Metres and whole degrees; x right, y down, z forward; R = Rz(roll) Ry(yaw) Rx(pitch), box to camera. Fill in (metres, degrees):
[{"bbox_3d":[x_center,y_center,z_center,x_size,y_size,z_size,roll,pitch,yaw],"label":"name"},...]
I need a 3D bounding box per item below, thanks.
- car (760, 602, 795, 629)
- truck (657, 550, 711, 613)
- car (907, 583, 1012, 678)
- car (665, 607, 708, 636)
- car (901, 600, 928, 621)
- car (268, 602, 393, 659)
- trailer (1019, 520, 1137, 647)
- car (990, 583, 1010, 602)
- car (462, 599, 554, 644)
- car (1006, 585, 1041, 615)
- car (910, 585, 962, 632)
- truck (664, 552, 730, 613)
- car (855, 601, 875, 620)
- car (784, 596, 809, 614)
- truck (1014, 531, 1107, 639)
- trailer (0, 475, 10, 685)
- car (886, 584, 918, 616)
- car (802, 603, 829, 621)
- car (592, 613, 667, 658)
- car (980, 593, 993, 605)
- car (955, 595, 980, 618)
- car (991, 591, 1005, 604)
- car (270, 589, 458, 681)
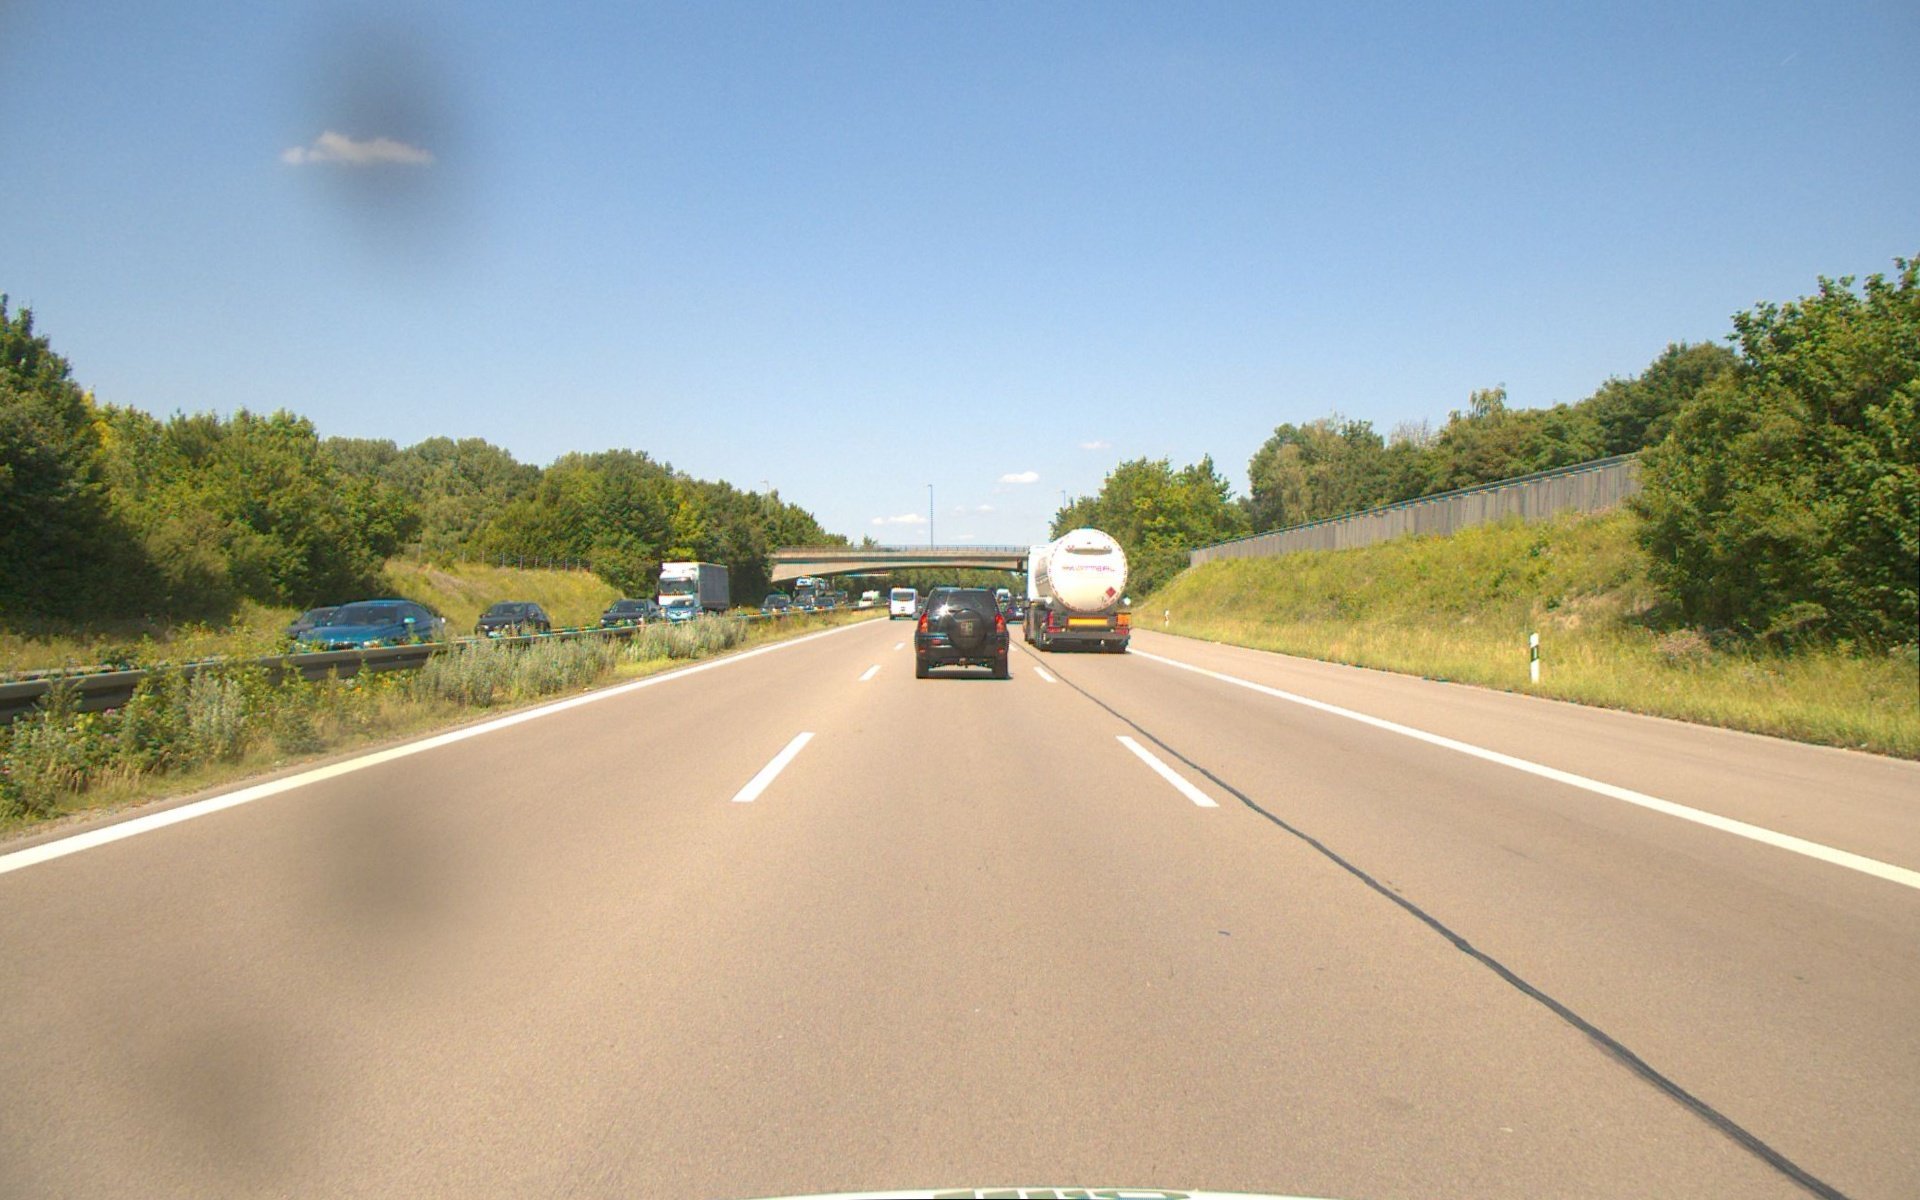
[{"bbox_3d":[-11.756,0.966,106.764,1.821,1.628,4.720,-1,0,-1],"label":"car"},{"bbox_3d":[-19.147,-1.257,115.042,2.618,4.149,6.075,-2,0,-1],"label":"truck"},{"bbox_3d":[-0.010,0.544,31.705,1.867,1.694,4.000,0,0,0],"label":"car"},{"bbox_3d":[-15.164,1.165,91.895,1.758,1.536,4.349,-1,0,-1],"label":"car"},{"bbox_3d":[-3.530,0.855,129.941,1.952,1.579,4.000,0,-1,1],"label":"car"},{"bbox_3d":[-18.571,0.860,49.048,1.857,1.463,4.923,-3,0,-1],"label":"car"},{"bbox_3d":[3.449,-0.457,51.106,2.594,3.449,11.149,1,0,-1],"label":"trailer"},{"bbox_3d":[3.889,-0.727,160.558,1.952,1.811,4.261,-1,0,1],"label":"car"},{"bbox_3d":[-15.501,0.692,56.942,1.857,1.363,4.762,-3,0,-1],"label":"car"},{"bbox_3d":[3.751,-0.005,98.847,1.952,1.713,4.000,0,-1,0],"label":"car"},{"bbox_3d":[-0.954,0.330,64.407,1.953,1.736,4.334,-1,0,-2],"label":"car"},{"bbox_3d":[-19.195,-1.227,121.674,2.618,4.149,13.957,-2,0,0],"label":"truck"},{"bbox_3d":[-10.666,1.192,185.491,1.952,2.049,4.914,0,-1,0],"label":"car"},{"bbox_3d":[-15.620,0.444,158.176,1.924,1.669,4.895,-1,0,0],"label":"car"},{"bbox_3d":[3.312,-0.485,56.001,2.584,3.434,6.485,1,0,-2],"label":"truck"},{"bbox_3d":[-18.808,-0.311,26.224,2.624,3.835,8.405,-2,0,-1],"label":"trailer"},{"bbox_3d":[-3.798,-0.001,108.643,1.953,2.049,4.948,-1,0,-1],"label":"car"},{"bbox_3d":[-12.004,0.986,137.762,1.836,1.464,5.018,-1,0,0],"label":"car"},{"bbox_3d":[-12.279,1.304,61.706,1.857,1.452,4.762,-3,0,-1],"label":"car"},{"bbox_3d":[4.068,-0.132,255.290,1.775,1.777,3.999,-1,0,-1],"label":"car"},{"bbox_3d":[0.574,0.516,124.752,1.804,1.640,4.001,0,-1,2],"label":"car"},{"bbox_3d":[5.285,-0.306,227.982,1.775,1.777,3.999,-1,0,-1],"label":"car"},{"bbox_3d":[-11.222,0.608,31.533,1.795,1.593,4.956,-1,0,0],"label":"car"}]
